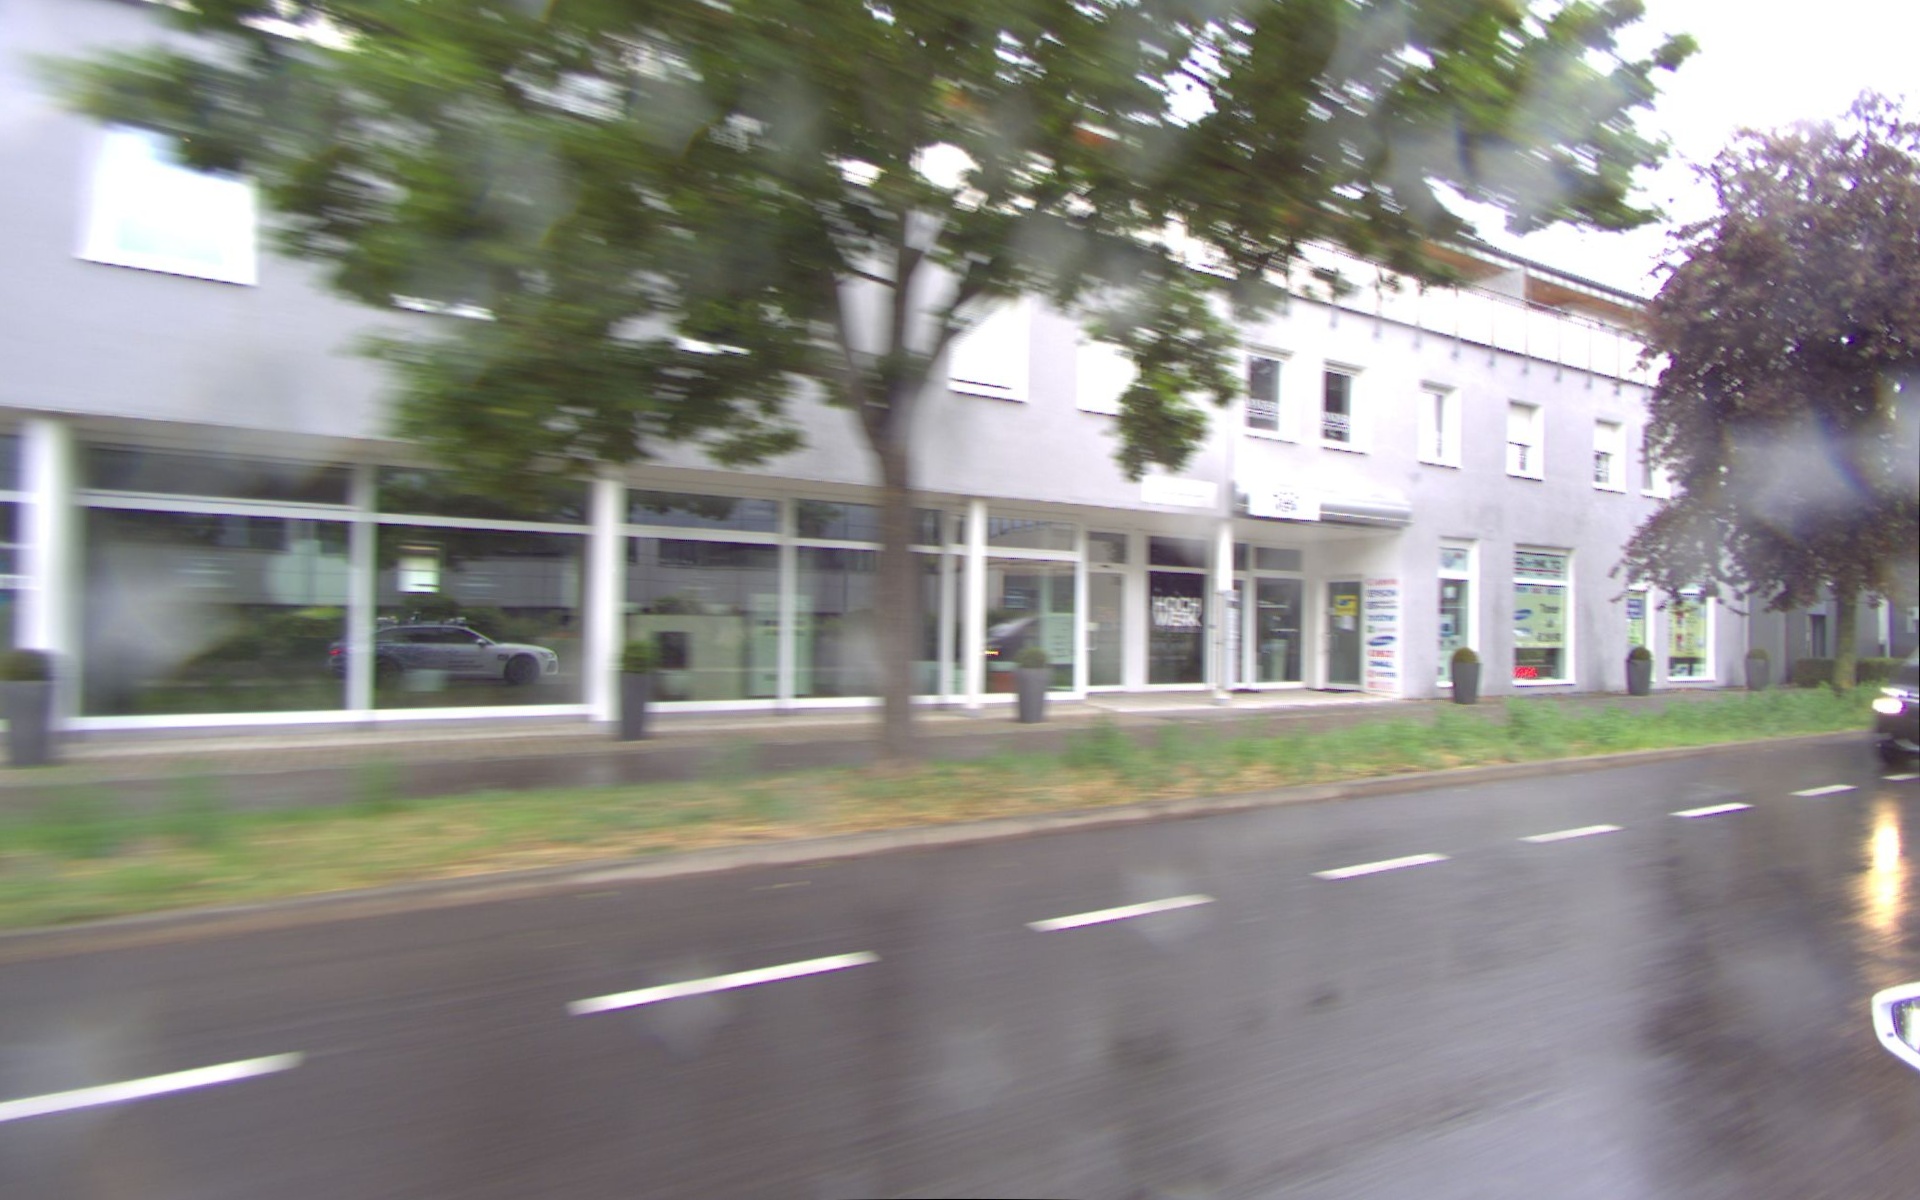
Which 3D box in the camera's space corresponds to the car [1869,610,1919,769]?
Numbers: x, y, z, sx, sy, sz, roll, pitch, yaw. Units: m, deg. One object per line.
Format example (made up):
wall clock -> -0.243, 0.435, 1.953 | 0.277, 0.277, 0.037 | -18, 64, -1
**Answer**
car -> 11.714, 0.907, 10.609 | 4.448, 1.575, 1.842 | 0, 0, -30
